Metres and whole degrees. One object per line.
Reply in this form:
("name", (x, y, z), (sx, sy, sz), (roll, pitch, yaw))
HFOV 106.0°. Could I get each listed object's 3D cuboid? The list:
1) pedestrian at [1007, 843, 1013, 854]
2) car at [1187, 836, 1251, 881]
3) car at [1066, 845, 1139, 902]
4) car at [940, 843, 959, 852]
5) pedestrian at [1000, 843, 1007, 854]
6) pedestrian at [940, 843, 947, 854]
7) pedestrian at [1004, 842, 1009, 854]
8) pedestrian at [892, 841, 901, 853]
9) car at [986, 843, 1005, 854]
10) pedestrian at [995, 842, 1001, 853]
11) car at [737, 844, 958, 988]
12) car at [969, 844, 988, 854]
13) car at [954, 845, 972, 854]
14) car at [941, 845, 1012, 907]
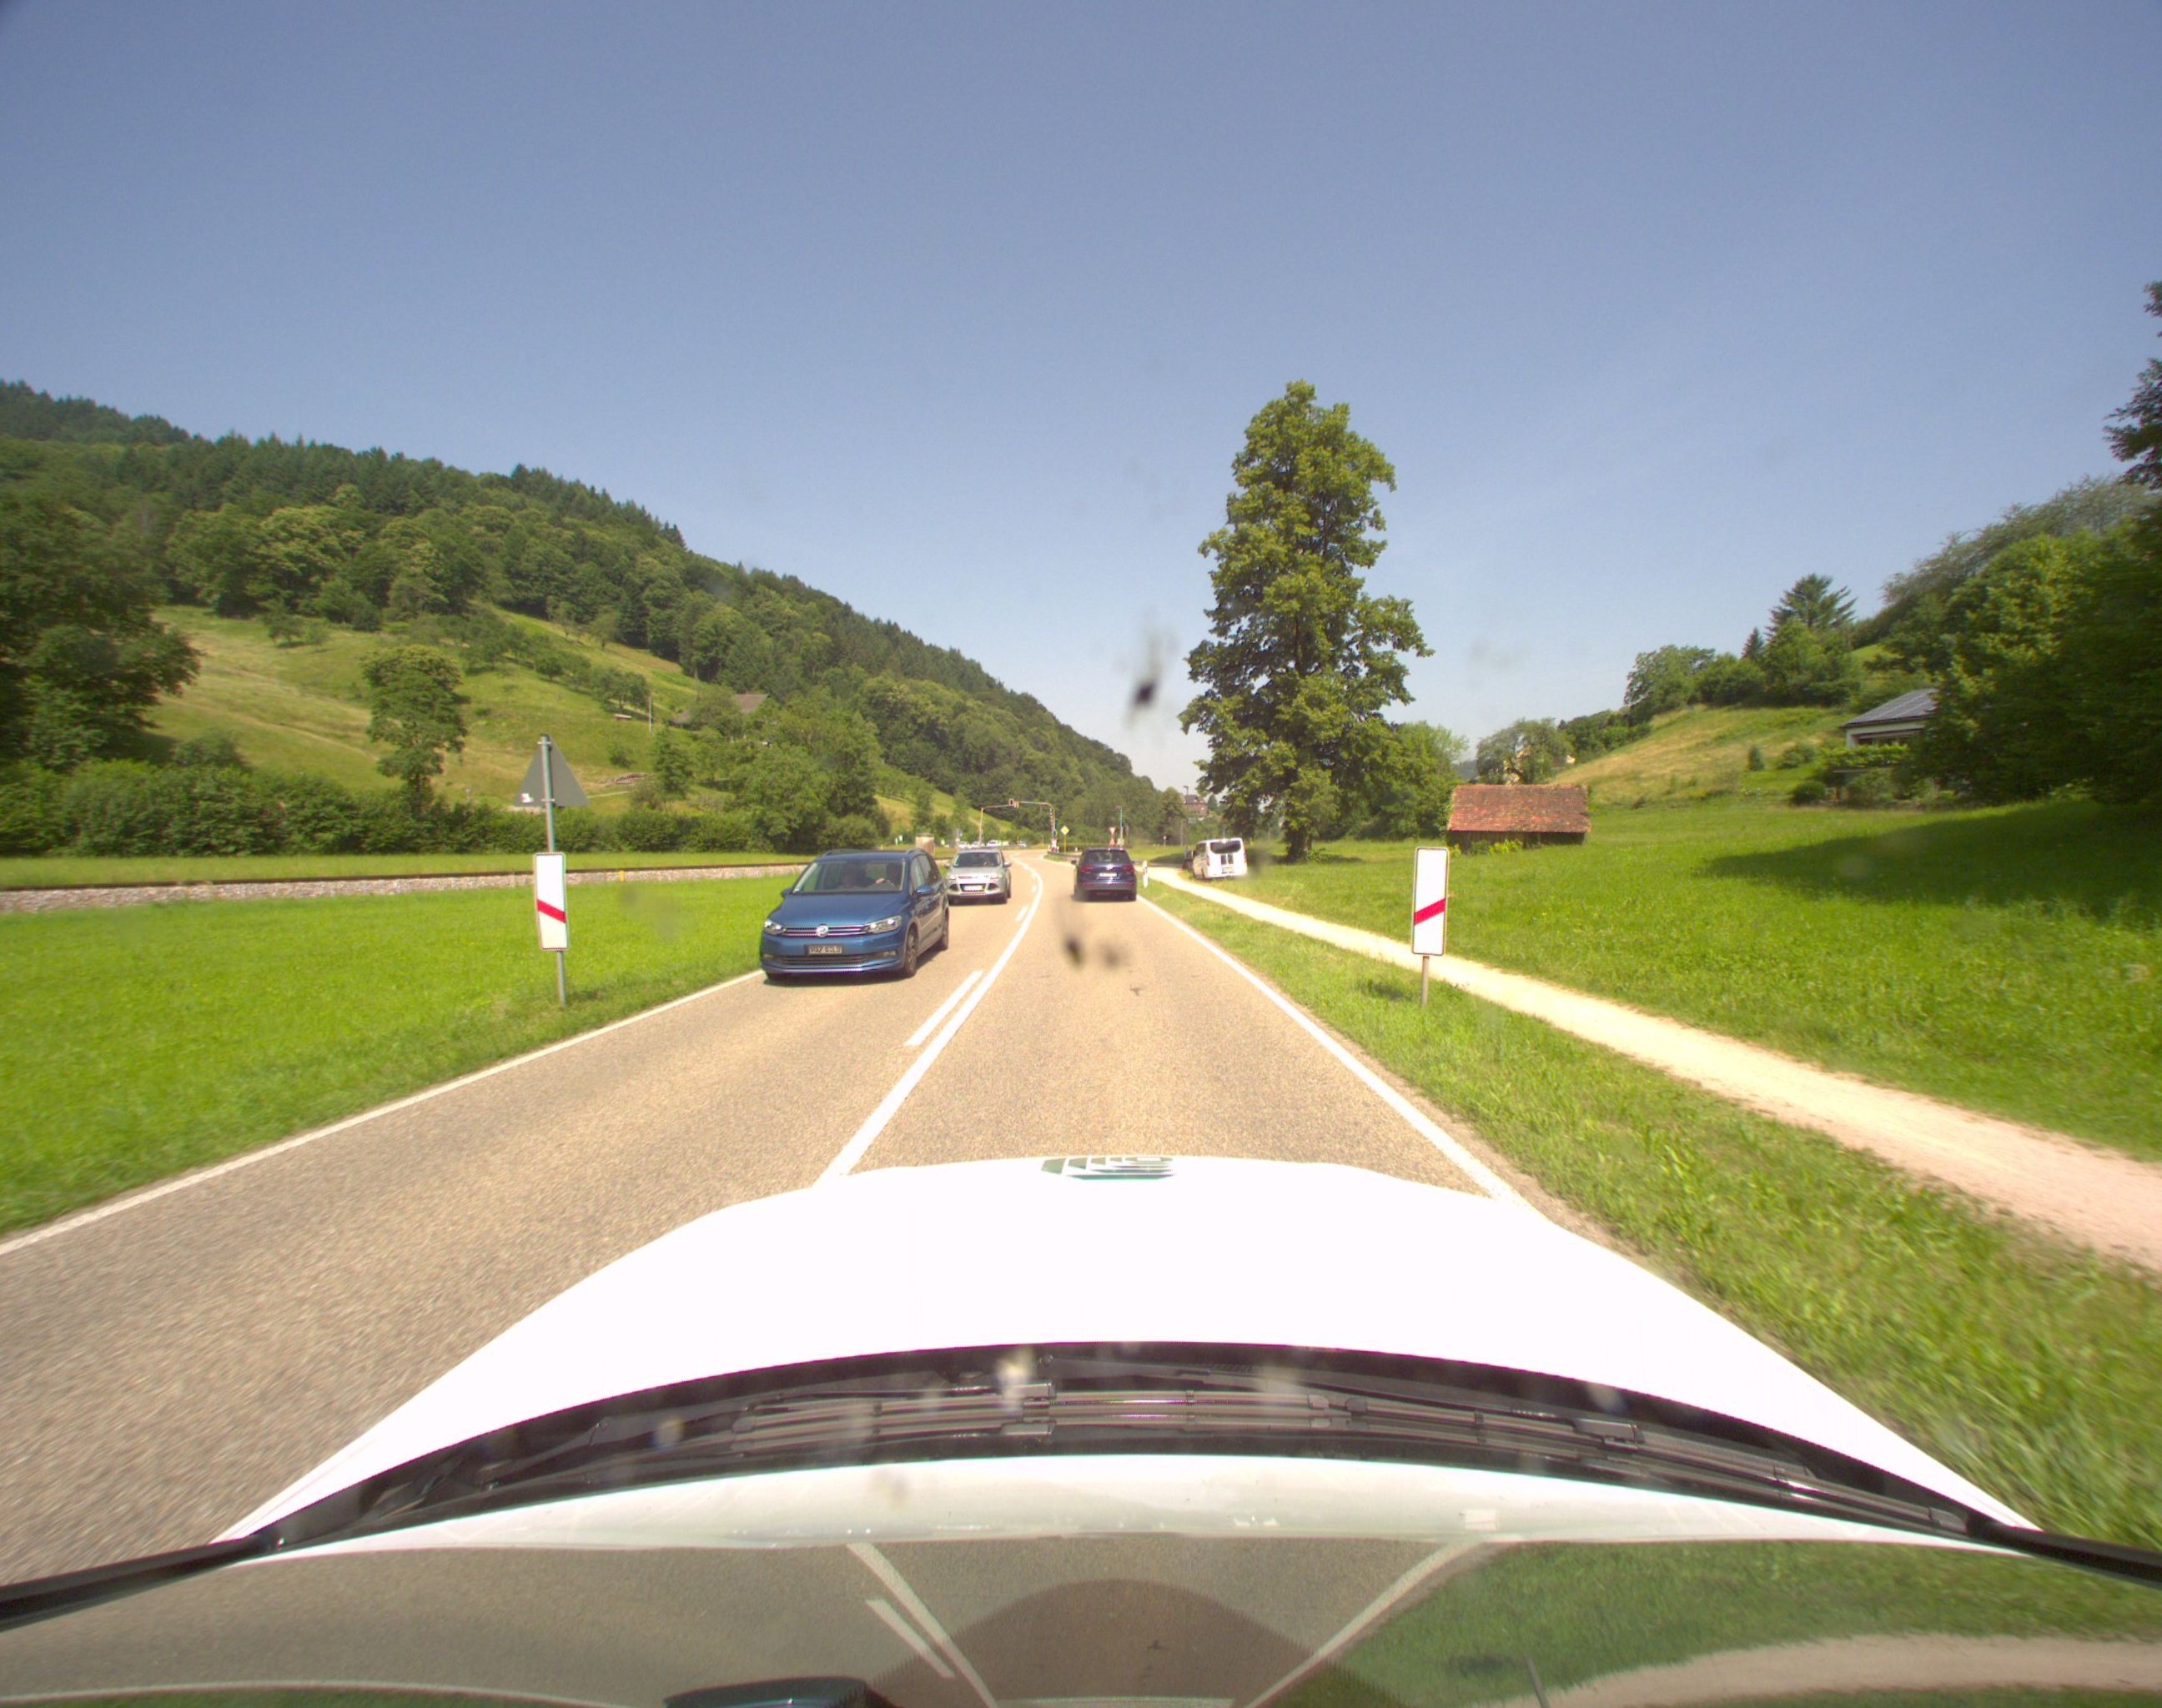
("pedestrian", (-11.815, -0.945, 135.951), (0.641, 1.858, 0.776), (-1, 0, 42))
("car", (6.436, 0.182, 38.526), (1.994, 1.848, 4.866), (-5, 1, -1))
("car", (0.600, 0.554, 25.726), (1.850, 1.649, 4.133), (-1, 0, -5))
("car", (-23.078, -1.063, 142.928), (1.983, 1.500, 4.531), (2, 1, 7))
("pedestrian", (-12.945, -0.926, 135.687), (0.761, 1.796, 0.799), (-1, 0, 35))
("pedestrian", (-23.090, -0.936, 136.656), (0.950, 1.794, 1.000), (-1, 1, 1))
("pedestrian", (-12.395, -0.974, 135.511), (0.658, 1.955, 0.533), (0, 0, -1))
("pedestrian", (-31.375, -1.237, 138.646), (1.116, 1.969, 0.867), (-1, 0, 24))
("car", (-15.024, -0.941, 142.849), (1.858, 1.782, 4.788), (1, 1, 12))
("pedestrian", (-13.702, -1.033, 134.755), (0.781, 1.842, 0.702), (0, 0, 20))
("car", (-3.007, 0.697, 11.576), (1.860, 1.623, 4.509), (-1, 0, -1))
("car", (-17.911, -0.868, 142.619), (1.982, 1.641, 4.914), (-1, 0, 9))
("car", (-20.611, -0.833, 142.531), (1.983, 1.500, 4.531), (-1, 0, 7))
("car", (-3.121, 0.596, 25.096), (1.912, 1.714, 4.153), (-1, 1, -4))
